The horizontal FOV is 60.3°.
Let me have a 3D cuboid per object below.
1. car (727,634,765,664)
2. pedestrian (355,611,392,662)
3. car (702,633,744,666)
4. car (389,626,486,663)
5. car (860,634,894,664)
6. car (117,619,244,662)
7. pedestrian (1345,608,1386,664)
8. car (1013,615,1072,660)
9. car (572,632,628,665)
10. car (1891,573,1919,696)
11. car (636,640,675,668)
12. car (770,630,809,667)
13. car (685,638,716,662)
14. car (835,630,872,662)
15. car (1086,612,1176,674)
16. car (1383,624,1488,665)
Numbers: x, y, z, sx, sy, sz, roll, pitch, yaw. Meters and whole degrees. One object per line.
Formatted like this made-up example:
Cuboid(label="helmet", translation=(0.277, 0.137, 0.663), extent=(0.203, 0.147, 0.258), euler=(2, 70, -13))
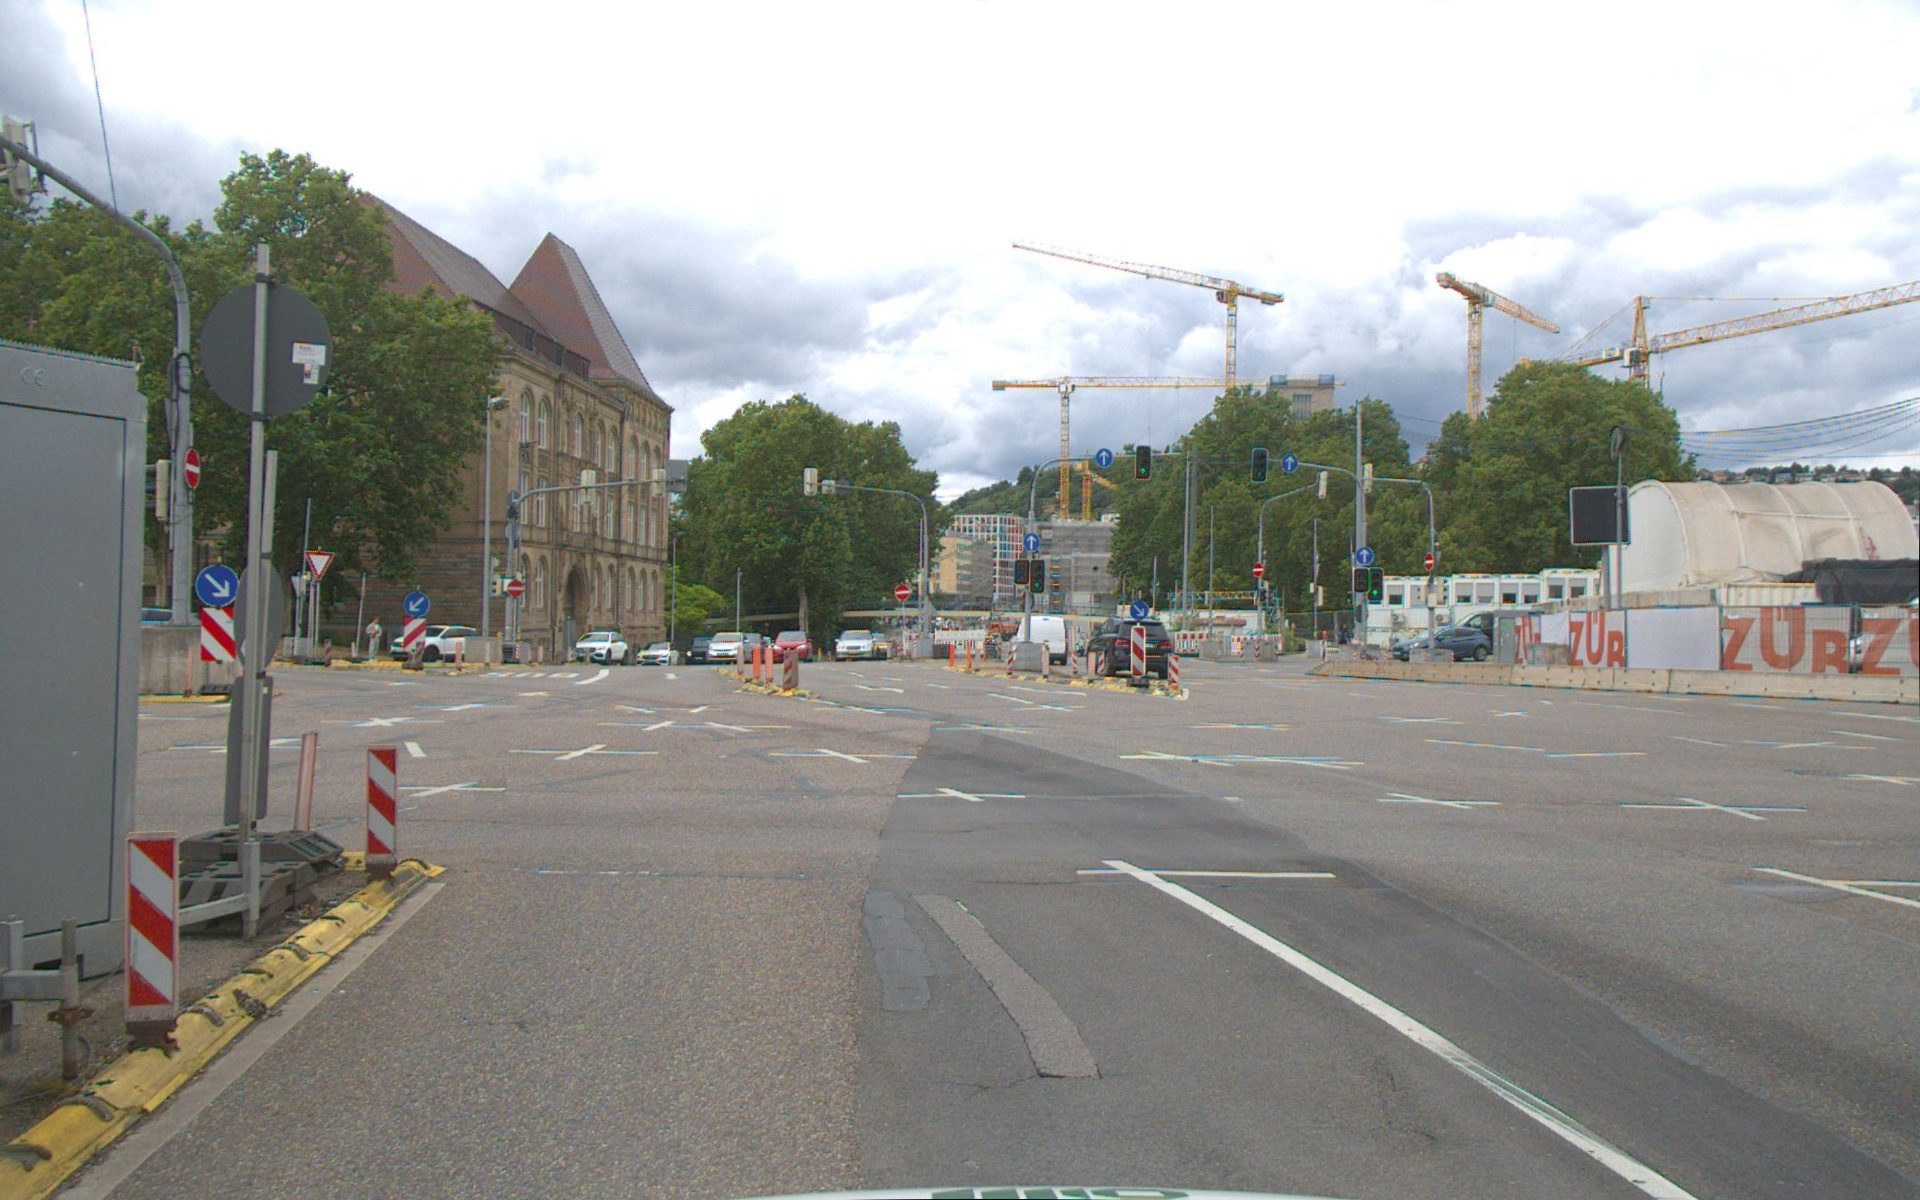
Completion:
Cuboid(label="car", translation=(-10.647, 2.443, 82.600), extent=(1.643, 1.423, 3.680), euler=(0, -1, -4))
Cuboid(label="pedestrian", translation=(-23.859, 1.474, 67.269), extent=(1.170, 2.049, 1.171), euler=(1, -1, -36))
Cuboid(label="car", translation=(-10.921, 2.273, 76.445), extent=(1.643, 1.423, 3.680), euler=(0, -1, -4))
Cuboid(label="car", translation=(-20.871, 1.765, 66.195), extent=(1.642, 1.423, 3.680), euler=(0, -1, 25))
Cuboid(label="car", translation=(-4.165, 2.431, 82.563), extent=(1.643, 1.423, 3.680), euler=(0, -1, -4))
Cuboid(label="car", translation=(-26.942, 1.387, 57.210), extent=(3.652, 1.423, 1.655), euler=(1, -1, -43))
Cuboid(label="pedestrian", translation=(15.029, 1.327, 61.328), extent=(1.074, 2.049, 1.182), euler=(0, -1, -9))
Cuboid(label="car", translation=(3.109, 1.412, 63.087), extent=(1.781, 1.653, 3.996), euler=(0, -1, -5))
Cuboid(label="car", translation=(-16.637, 2.231, 76.630), extent=(1.641, 1.423, 3.684), euler=(0, -1, 2))
Cuboid(label="car", translation=(23.166, 0.772, 36.876), extent=(3.902, 2.708, 1.682), euler=(0, -1, 16))
Cuboid(label="car", translation=(-16.376, 2.921, 89.198), extent=(1.643, 1.423, 3.680), euler=(0, -1, -4))
Cuboid(label="car", translation=(-7.758, 2.176, 75.426), extent=(1.643, 1.608, 3.680), euler=(0, -1, -4))
Cuboid(label="car", translation=(-16.520, 3.178, 105.466), extent=(1.643, 1.423, 3.680), euler=(0, -1, -4))
Cuboid(label="car", translation=(-4.869, 2.082, 75.511), extent=(1.643, 1.423, 3.680), euler=(0, -1, -4))
Cuboid(label="car", translation=(5.080, 1.259, 49.605), extent=(1.797, 1.776, 4.248), euler=(0, -1, -7))
Cuboid(label="car", translation=(19.982, 1.853, 69.566), extent=(3.923, 1.653, 1.814), euler=(0, -1, -17))
